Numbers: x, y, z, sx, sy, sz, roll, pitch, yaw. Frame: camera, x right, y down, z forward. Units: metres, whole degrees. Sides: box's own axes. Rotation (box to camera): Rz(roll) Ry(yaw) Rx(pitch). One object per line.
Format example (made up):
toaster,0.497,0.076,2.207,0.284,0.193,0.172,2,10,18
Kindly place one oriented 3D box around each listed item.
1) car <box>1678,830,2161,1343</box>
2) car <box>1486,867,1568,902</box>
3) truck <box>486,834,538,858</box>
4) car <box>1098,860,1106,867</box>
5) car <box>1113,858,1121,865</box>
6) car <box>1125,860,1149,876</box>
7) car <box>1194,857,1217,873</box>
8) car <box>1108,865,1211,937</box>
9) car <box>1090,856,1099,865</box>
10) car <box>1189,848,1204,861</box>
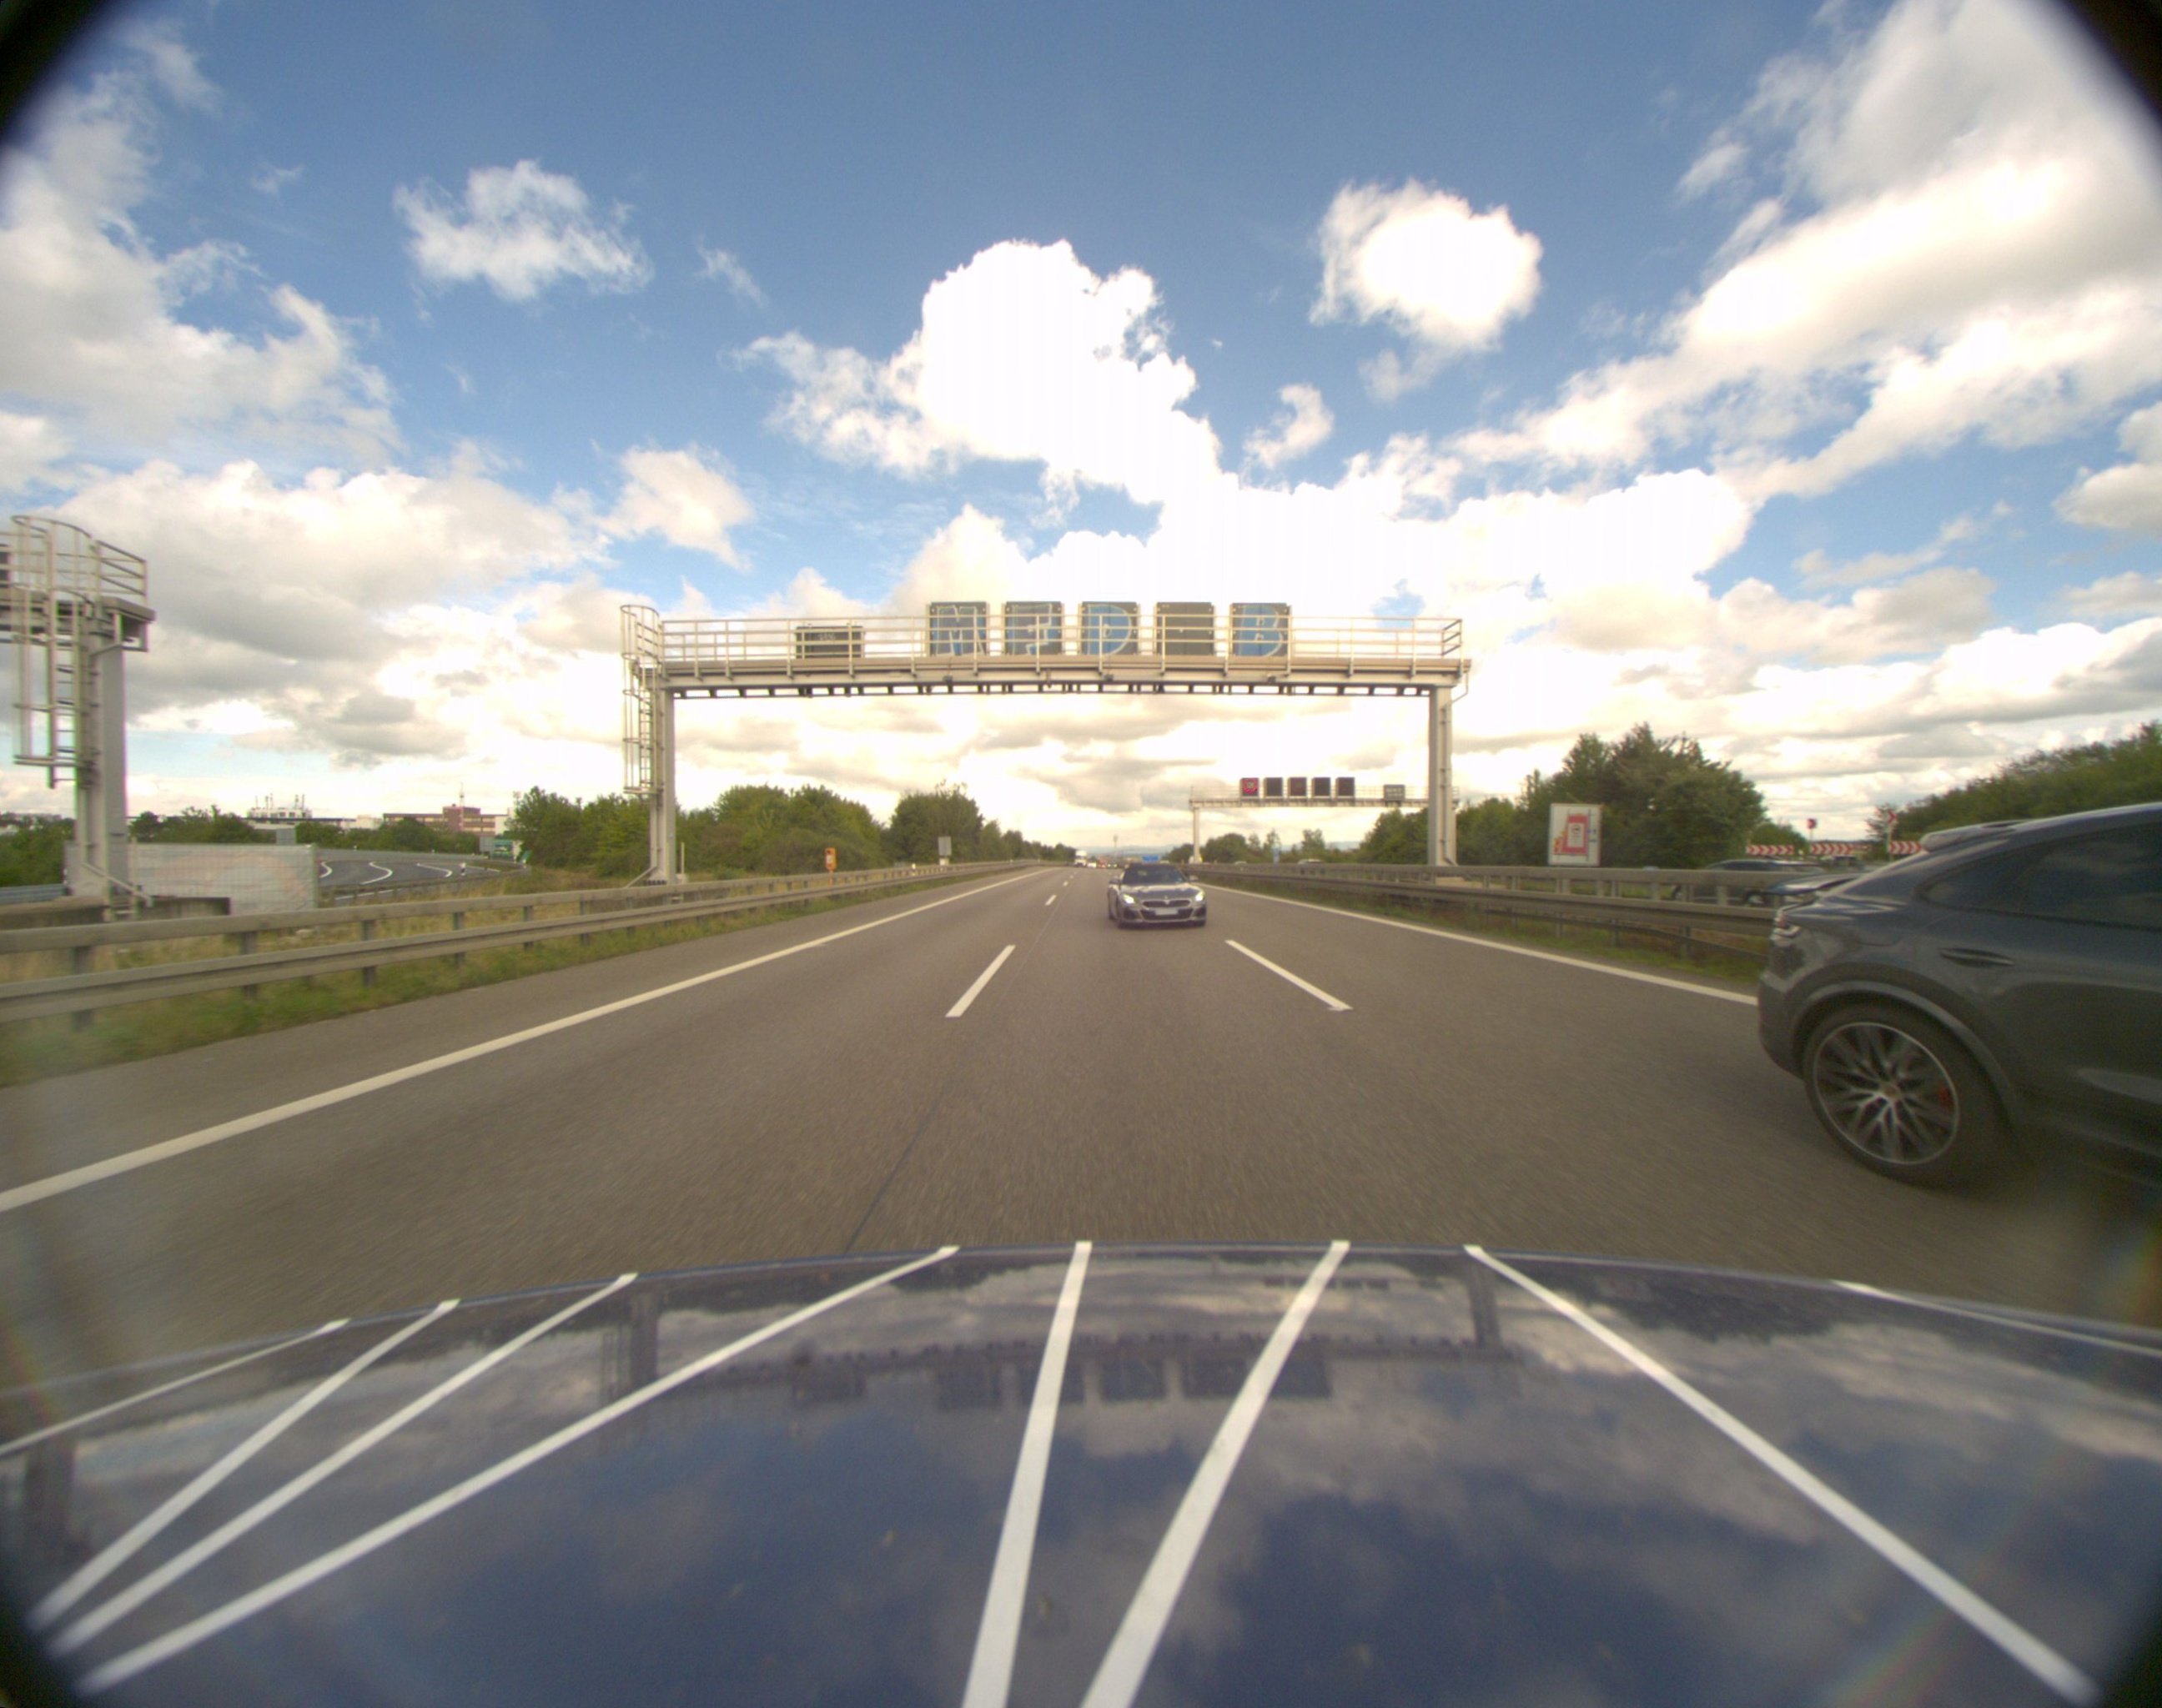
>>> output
car,4.382,0.732,1.614,1.917,1.626,5.499,-1,0,0
car,20.732,1.385,35.503,1.528,1.394,3.875,-1,0,0
truck,-93.805,-1.262,125.633,2.972,3.775,13.439,-2,0,-20
car,5.690,2.612,210.189,1.999,1.619,4.429,0,0,-1
car,7.713,1.605,162.356,1.593,1.307,3.977,1,0,0
car,4.986,1.194,68.335,1.811,1.307,4.247,1,0,0
car,14.165,1.210,86.434,1.731,1.626,4.430,-1,0,-1
car,1.657,0.975,17.617,1.878,1.295,4.941,-1,0,0
car,2.558,1.248,142.660,1.737,1.608,4.000,-1,0,1
car,21.401,0.019,140.988,2.003,2.271,4.577,-1,1,-1
